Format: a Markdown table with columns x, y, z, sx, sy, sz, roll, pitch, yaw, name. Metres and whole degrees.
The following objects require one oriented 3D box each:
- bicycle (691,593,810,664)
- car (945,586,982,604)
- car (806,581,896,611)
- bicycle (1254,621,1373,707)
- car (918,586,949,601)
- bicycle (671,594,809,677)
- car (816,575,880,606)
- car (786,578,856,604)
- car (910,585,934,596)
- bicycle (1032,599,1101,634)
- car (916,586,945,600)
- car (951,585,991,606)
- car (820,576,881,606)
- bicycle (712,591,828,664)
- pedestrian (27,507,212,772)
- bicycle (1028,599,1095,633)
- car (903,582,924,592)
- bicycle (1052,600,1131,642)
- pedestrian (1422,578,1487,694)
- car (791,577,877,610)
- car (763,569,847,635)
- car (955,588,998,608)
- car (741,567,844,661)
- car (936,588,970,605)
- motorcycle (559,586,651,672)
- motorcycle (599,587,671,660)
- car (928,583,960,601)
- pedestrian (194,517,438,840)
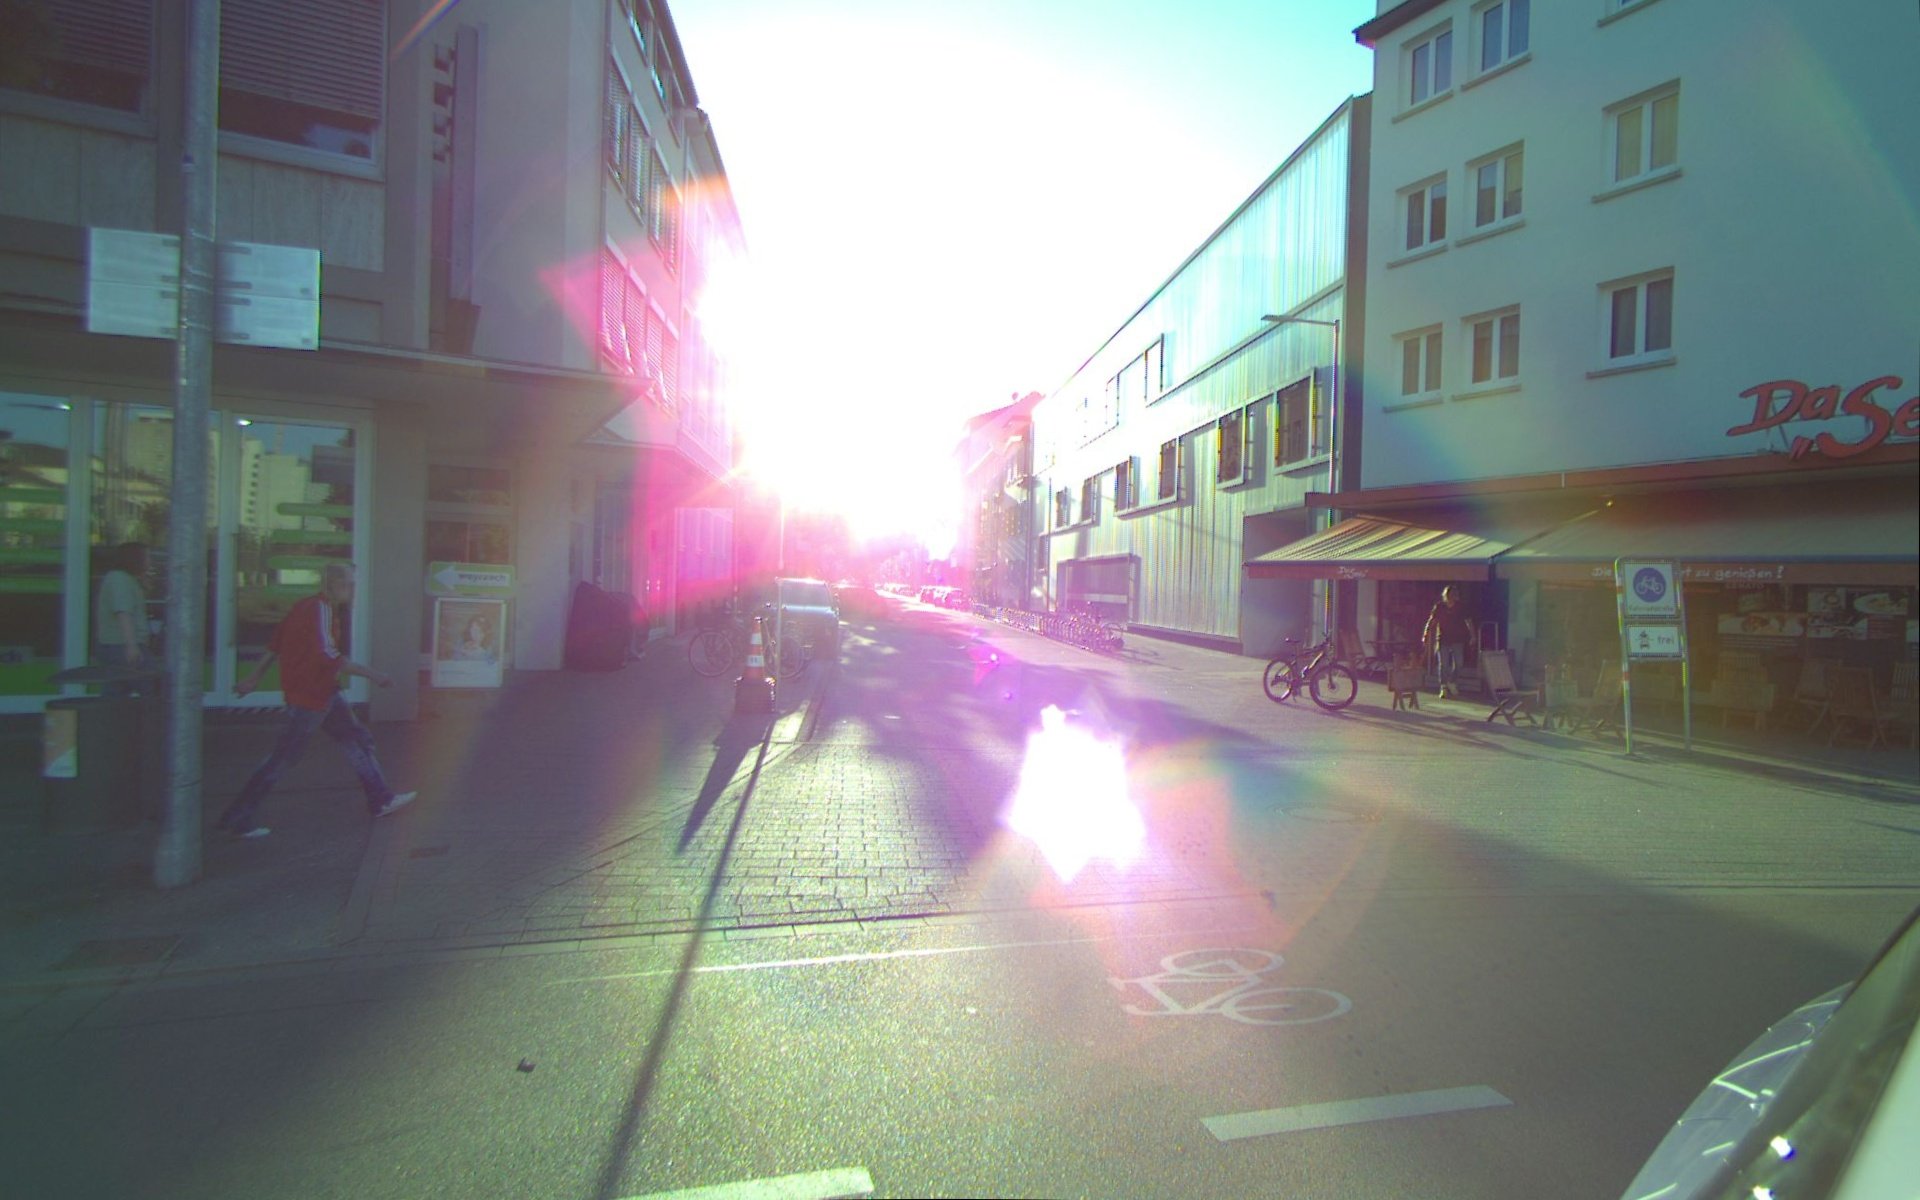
| x | y | z | sx | sy | sz | roll | pitch | yaw | name |
| --- | --- | --- | --- | --- | --- | --- | --- | --- | --- |
| -3.443 | 0.472 | 16.721 | 1.880 | 1.127 | 0.629 | 1 | -1 | -11 | bicycle |
| 0.243 | -0.326 | 73.422 | 2.635 | 1.262 | 1.450 | 1 | -1 | -3 | car |
| -5.359 | -0.197 | 50.082 | 4.084 | 1.362 | 1.996 | 1 | 1 | -44 | car |
| 5.400 | 0.944 | 15.604 | 0.525 | 1.174 | 1.914 | 1 | 0 | -26 | bicycle |
| -2.428 | -0.602 | 91.885 | 2.634 | 1.262 | 1.451 | 1 | -1 | -6 | car |
| -3.339 | 0.543 | 15.441 | 1.965 | 1.127 | 0.586 | 4 | 0 | -11 | bicycle |
| -7.588 | -0.615 | 68.747 | 3.922 | 2.002 | 1.867 | 1 | -1 | -33 | car |
| -8.907 | -0.567 | 64.983 | 3.922 | 1.527 | 2.001 | 1 | 1 | -33 | car |
| -4.515 | -1.103 | 119.944 | 2.634 | 1.262 | 1.451 | 2 | 1 | -6 | car |
| 3.710 | 0.572 | 35.235 | 2.295 | 1.159 | 0.529 | 1 | -1 | -11 | bicycle |
| -2.860 | -0.640 | 96.676 | 2.634 | 1.262 | 1.405 | 1 | -1 | -6 | car |
| 0.734 | -0.287 | 68.396 | 2.635 | 1.377 | 1.450 | 1 | -1 | -3 | car |
| -7.779 | -0.617 | 71.929 | 3.922 | 2.039 | 1.846 | 1 | -1 | -33 | car |
| -3.330 | 0.482 | 17.785 | 1.880 | 1.127 | 0.629 | 4 | -2 | -11 | bicycle |
| -6.200 | 0.271 | 7.476 | 0.746 | 1.801 | 0.957 | -1 | -1 | 44 | pedestrian |
| 3.606 | 0.565 | 35.810 | 2.295 | 1.155 | 0.529 | 1 | -1 | -11 | bicycle |
| -5.952 | -1.664 | 130.408 | 2.634 | 1.295 | 1.267 | 1 | -1 | -6 | car |
| 3.987 | 0.632 | 30.695 | 2.295 | 1.247 | 0.607 | 0 | 1 | -11 | bicycle |
| 8.155 | 0.568 | 16.694 | 0.749 | 1.849 | 0.715 | 0 | 0 | -41 | pedestrian |
| -6.558 | -0.334 | 52.640 | 3.922 | 1.638 | 2.001 | 1 | 1 | -33 | car |
| -4.518 | 0.037 | 30.160 | 1.961 | 1.641 | 4.266 | 5 | 0 | -3 | car |
| 1.041 | -0.105 | 64.934 | 2.635 | 1.262 | 1.450 | 1 | -1 | -3 | car |
| -3.600 | 0.270 | 22.456 | 1.881 | 1.773 | 4.444 | 4 | 0 | -6 | car |
| -0.537 | -0.273 | 78.543 | 2.534 | 1.317 | 1.299 | 1 | -1 | -5 | car |
| -5.369 | 0.398 | 15.448 | 0.794 | 1.183 | 2.298 | 1 | 1 | -6 | motorcycle |
| -5.675 | 0.376 | 17.798 | 0.724 | 1.172 | 2.278 | 2 | 1 | -6 | motorcycle |
| -1.329 | -0.658 | 84.608 | 2.637 | 1.448 | 1.328 | 1 | -1 | 0 | car |
| -3.810 | 0.419 | 6.011 | 0.823 | 1.706 | 1.032 | 0 | -1 | 43 | pedestrian |
